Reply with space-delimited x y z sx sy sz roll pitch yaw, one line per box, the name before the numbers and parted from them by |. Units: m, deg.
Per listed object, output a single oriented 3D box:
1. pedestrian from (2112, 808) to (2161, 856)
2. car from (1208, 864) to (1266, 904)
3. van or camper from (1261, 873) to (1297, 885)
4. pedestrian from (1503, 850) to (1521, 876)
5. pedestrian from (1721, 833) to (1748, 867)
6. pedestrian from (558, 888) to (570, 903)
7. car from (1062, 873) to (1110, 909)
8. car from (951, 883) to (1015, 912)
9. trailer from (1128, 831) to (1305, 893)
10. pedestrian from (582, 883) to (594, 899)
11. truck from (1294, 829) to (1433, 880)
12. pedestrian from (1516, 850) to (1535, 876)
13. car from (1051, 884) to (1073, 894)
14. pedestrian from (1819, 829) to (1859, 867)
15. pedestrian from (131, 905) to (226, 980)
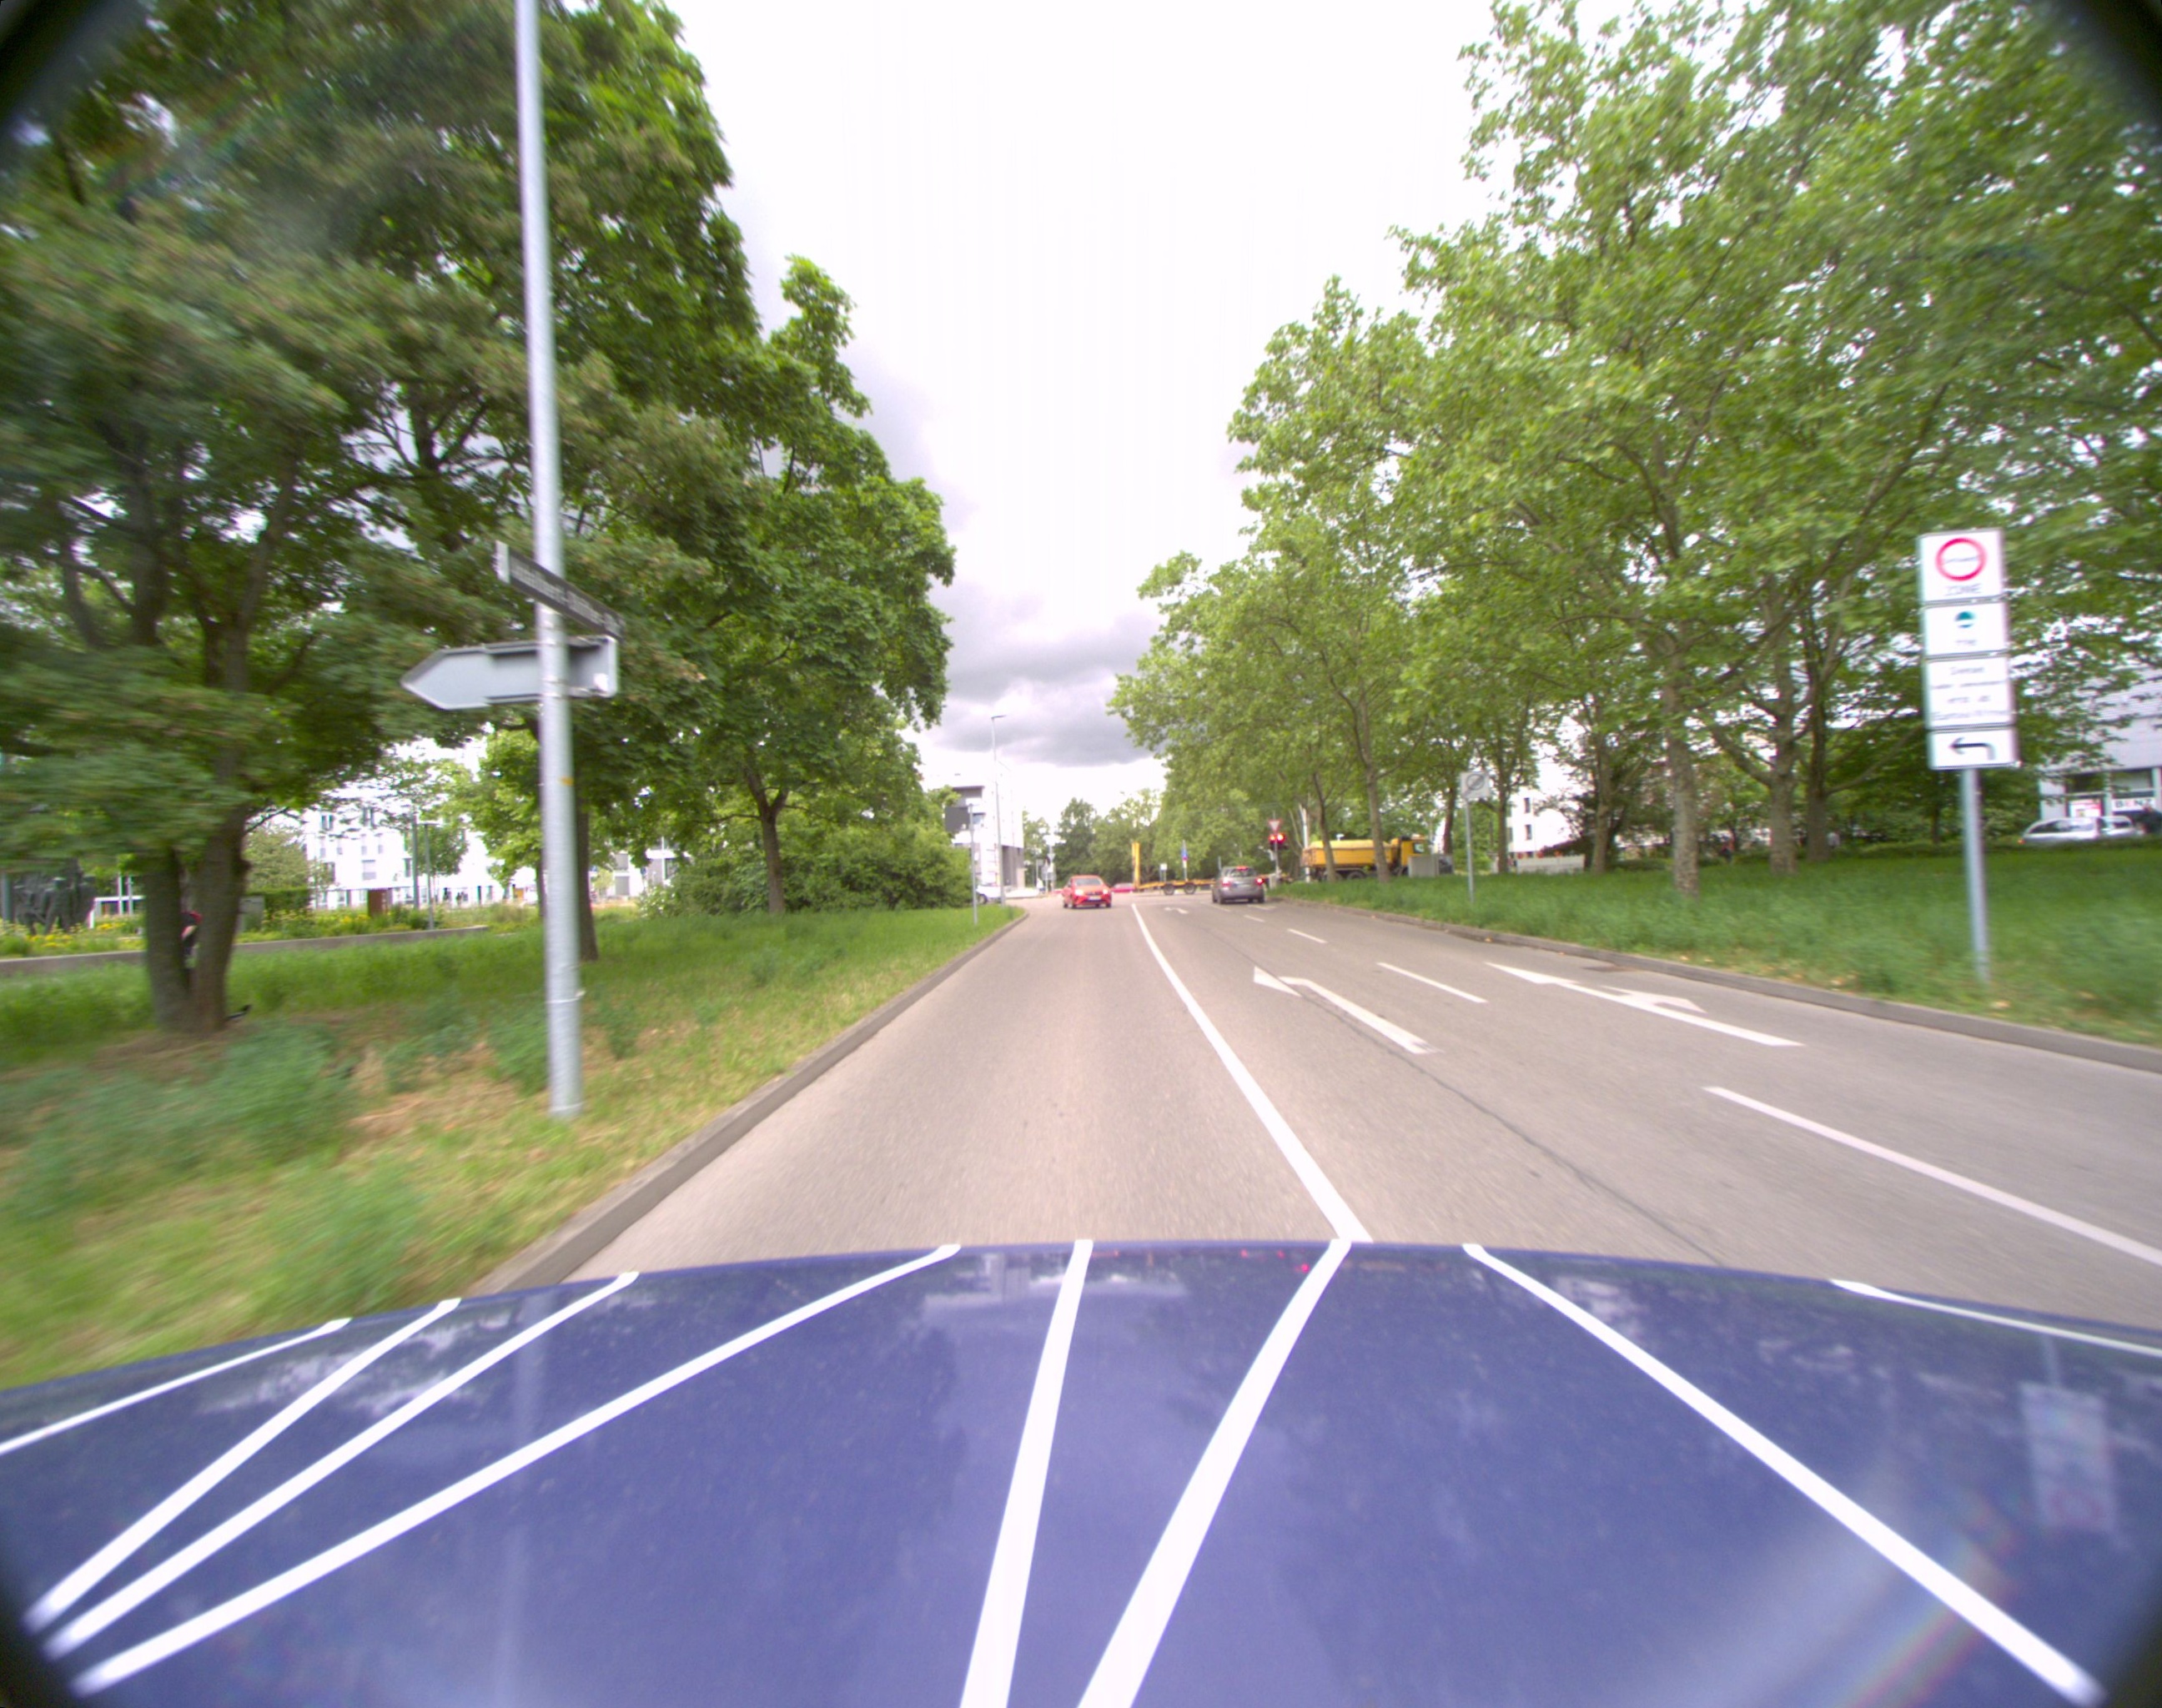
pedestrian | 36.339 -0.753 26.060 0.798 1.576 0.796 -2 -1 6
car | 6.586 1.256 32.489 1.771 1.576 4.414 -2 -2 4
van or camper | 30.170 3.844 115.749 5.001 1.523 1.866 -3 -2 4
pedestrian | 25.196 0.522 44.434 0.698 1.480 0.688 -2 -1 7
pedestrian | 30.221 -0.173 35.114 0.656 1.529 0.771 -1 -1 -36
pedestrian | -49.747 4.001 73.152 0.670 1.400 0.716 -3 -2 0
car | 0.164 1.595 33.519 1.693 1.470 3.999 -2 -2 -5
car | -5.939 2.633 46.132 3.440 1.564 1.741 -3 -2 10
trailer | 8.659 0.570 49.446 10.901 3.500 2.717 -2 -1 5
pedestrian | -48.585 3.618 74.858 0.670 1.509 0.716 -3 -2 3
truck | 17.926 0.074 48.613 7.769 2.985 2.731 -2 -1 5
pedestrian | 26.131 0.520 44.697 0.698 1.480 0.721 -2 -1 8
car | -3.150 5.831 125.596 3.539 1.489 1.648 -3 -2 4
pedestrian | 32.651 -0.254 32.726 0.850 1.576 0.796 -2 -1 -2
pedestrian | -18.721 1.807 15.778 0.760 1.443 0.983 -3 -1 0
